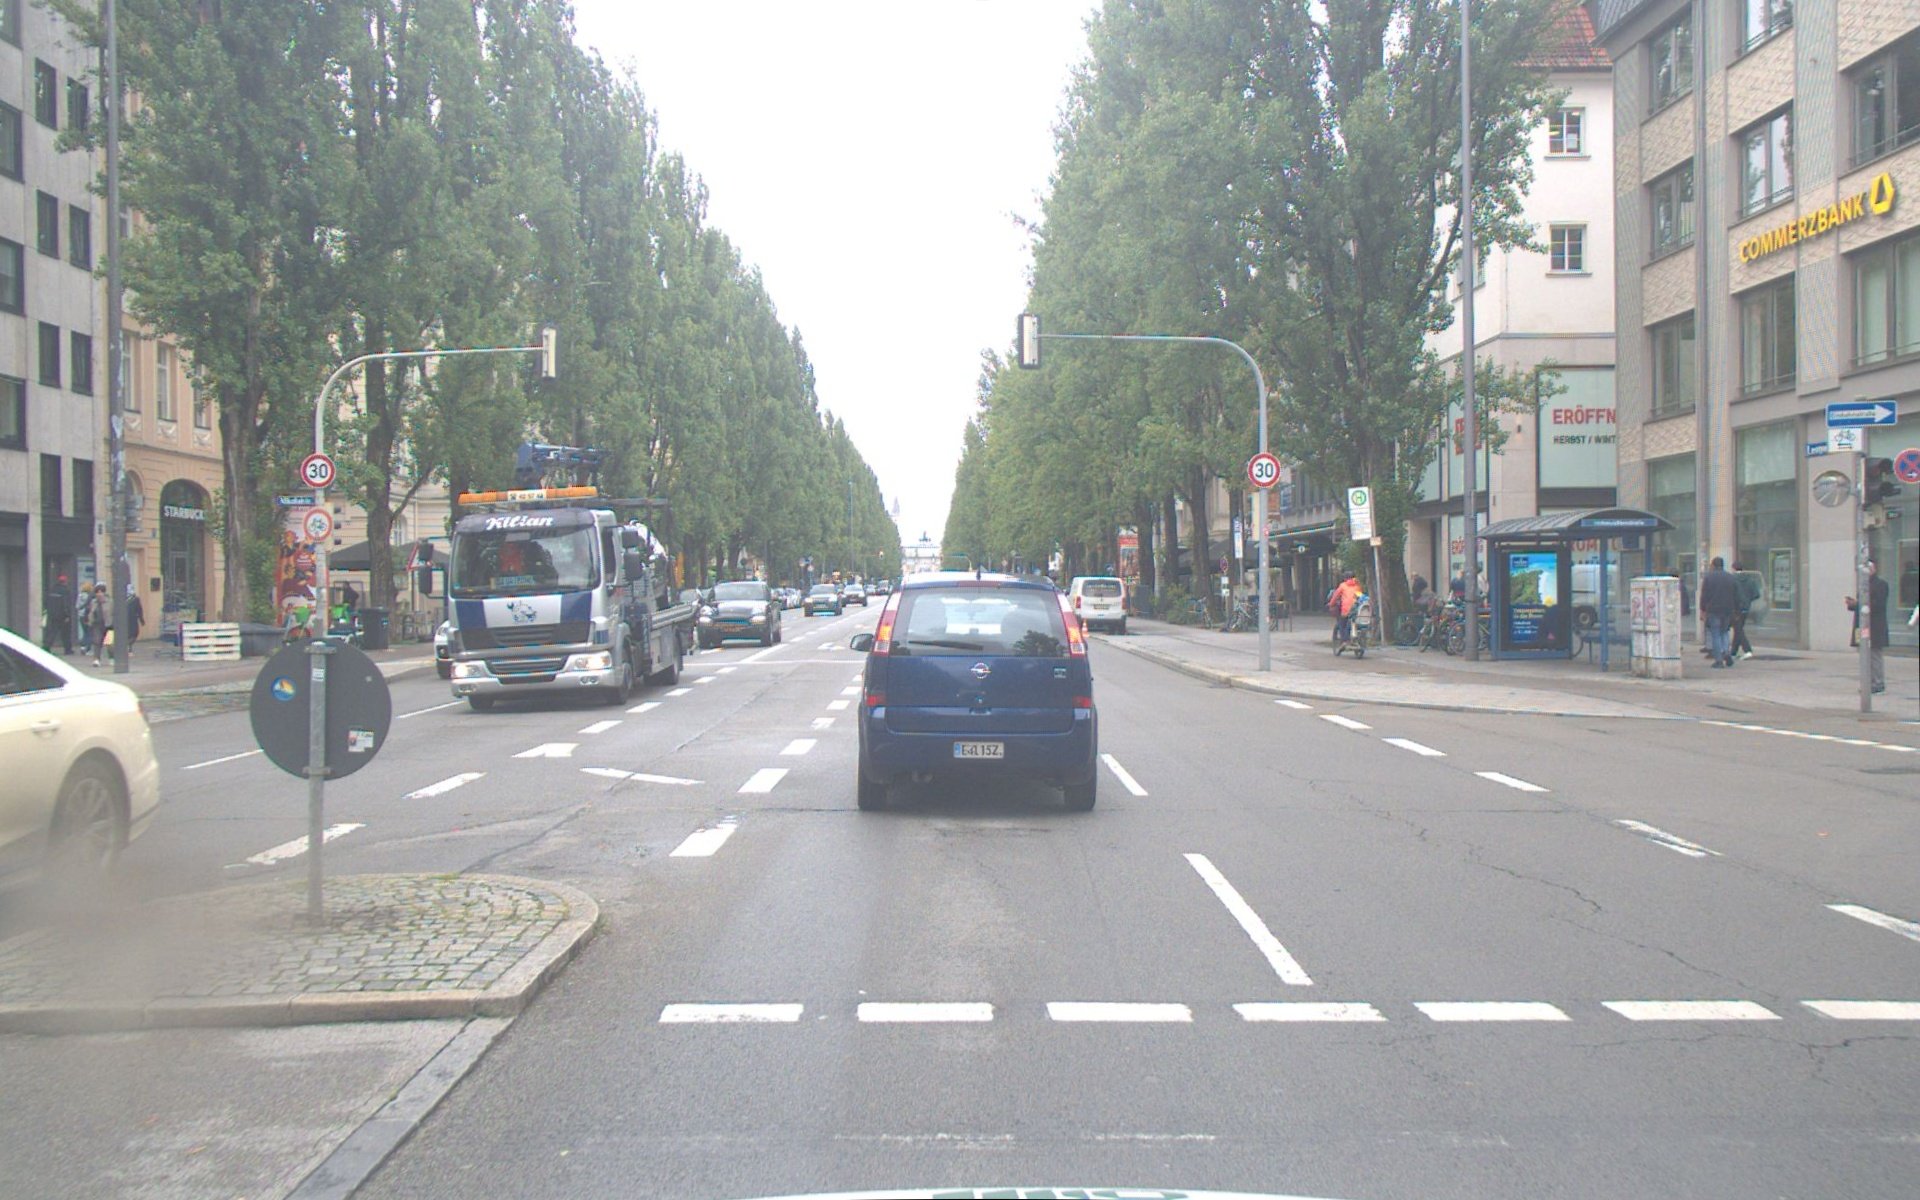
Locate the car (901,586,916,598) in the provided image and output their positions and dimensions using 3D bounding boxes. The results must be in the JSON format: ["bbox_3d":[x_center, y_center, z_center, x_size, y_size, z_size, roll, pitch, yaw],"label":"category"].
[{"bbox_3d":[-6.843,-1.063,218.575,1.922,1.424,3.777,-1,1,-2],"label":"car"}]

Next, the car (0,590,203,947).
[{"bbox_3d":[-5.047,0.766,6.612,1.806,1.528,4.985,-2,1,-1],"label":"car"}]

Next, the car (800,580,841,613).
[{"bbox_3d":[-7.436,-0.222,88.563,1.874,1.710,4.585,-1,1,-2],"label":"car"}]

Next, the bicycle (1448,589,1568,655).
[{"bbox_3d":[11.018,0.435,33.288,2.268,1.274,0.477,-1,0,-2],"label":"bicycle"}]

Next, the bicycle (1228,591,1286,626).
[{"bbox_3d":[9.334,0.254,51.985,1.727,1.062,0.482,-1,0,-13],"label":"bicycle"}]

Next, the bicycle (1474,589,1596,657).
[{"bbox_3d":[11.115,0.441,32.012,2.194,1.274,0.477,0,0,23],"label":"bicycle"}]

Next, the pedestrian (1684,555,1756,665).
[{"bbox_3d":[13.028,0.169,28.366,0.802,1.849,0.890,-1,0,-3],"label":"pedestrian"}]

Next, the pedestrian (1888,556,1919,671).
[{"bbox_3d":[15.381,0.199,26.242,0.734,1.788,1.017,-1,1,0],"label":"pedestrian"}]

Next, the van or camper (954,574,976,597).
[{"bbox_3d":[0.570,-1.768,195.764,2.426,2.626,5.843,-1,1,-1],"label":"van or camper"}]

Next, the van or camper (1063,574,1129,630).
[{"bbox_3d":[4.845,0.041,59.423,1.831,1.916,4.902,0,1,-2],"label":"van or camper"}]

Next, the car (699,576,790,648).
[{"bbox_3d":[-5.627,0.282,43.712,1.846,1.777,4.439,-1,1,-1],"label":"car"}]

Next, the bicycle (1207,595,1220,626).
[{"bbox_3d":[8.787,0.358,57.330,0.357,1.056,1.732,-1,1,6],"label":"bicycle"}]

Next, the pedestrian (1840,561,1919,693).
[{"bbox_3d":[12.744,0.361,22.922,0.694,1.788,0.752,-1,0,0],"label":"pedestrian"}]

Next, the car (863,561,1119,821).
[{"bbox_3d":[0.128,0.555,12.650,1.647,1.670,3.999,0,1,-2],"label":"car"}]

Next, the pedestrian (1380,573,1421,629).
[{"bbox_3d":[13.692,0.035,51.412,0.979,1.703,0.813,-1,1,-43],"label":"pedestrian"}]

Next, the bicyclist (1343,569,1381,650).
[{"bbox_3d":[8.080,0.183,33.284,0.609,1.616,0.481,-1,0,-2],"label":"bicyclist"}]

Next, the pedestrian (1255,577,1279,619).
[{"bbox_3d":[13.877,-0.076,74.803,0.810,1.873,1.099,-1,0,-2],"label":"pedestrian"}]

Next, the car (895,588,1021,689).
[{"bbox_3d":[-0.103,0.587,27.954,1.953,1.523,3.999,-1,1,-2],"label":"car"}]

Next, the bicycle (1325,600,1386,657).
[{"bbox_3d":[8.072,0.562,33.841,0.614,1.105,2.263,-1,1,-2],"label":"bicycle"}]

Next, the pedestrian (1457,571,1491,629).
[{"bbox_3d":[15.553,-0.006,50.064,0.735,1.748,0.962,0,0,-1],"label":"pedestrian"}]

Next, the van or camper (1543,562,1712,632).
[{"bbox_3d":[18.756,-0.090,46.606,4.019,1.899,1.899,0,0,2],"label":"van or camper"}]

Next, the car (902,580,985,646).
[{"bbox_3d":[-0.458,0.286,41.616,1.953,1.523,3.999,-1,1,-2],"label":"car"}]

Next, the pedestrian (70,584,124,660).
[{"bbox_3d":[-19.845,0.496,38.056,0.717,1.711,0.977,1,0,-1],"label":"pedestrian"}]

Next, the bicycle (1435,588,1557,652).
[{"bbox_3d":[10.966,0.402,33.881,2.296,1.274,0.633,-1,0,-2],"label":"bicycle"}]

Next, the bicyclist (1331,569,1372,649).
[{"bbox_3d":[8.054,0.180,34.048,0.609,1.616,0.753,-1,0,-2],"label":"bicyclist"}]

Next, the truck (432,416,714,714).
[{"bbox_3d":[-5.516,-0.500,25.155,2.413,3.734,8.438,-1,1,-1],"label":"truck"}]

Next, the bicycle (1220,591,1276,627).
[{"bbox_3d":[9.172,0.273,52.688,1.707,1.130,0.447,-1,0,-12],"label":"bicycle"}]

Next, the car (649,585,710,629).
[{"bbox_3d":[-12.038,0.267,71.306,1.782,1.646,4.717,0,2,0],"label":"car"}]

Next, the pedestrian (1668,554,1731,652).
[{"bbox_3d":[13.718,0.063,30.713,0.734,1.789,0.859,-1,-1,0],"label":"pedestrian"}]

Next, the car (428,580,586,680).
[{"bbox_3d":[-8.672,0.511,32.065,1.800,1.746,4.635,-2,1,-1],"label":"car"}]

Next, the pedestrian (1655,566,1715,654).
[{"bbox_3d":[14.371,0.181,32.804,0.734,1.706,0.963,-1,1,0],"label":"pedestrian"}]

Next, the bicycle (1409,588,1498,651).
[{"bbox_3d":[10.283,0.402,34.484,1.689,1.261,0.449,-1,0,0],"label":"bicycle"}]

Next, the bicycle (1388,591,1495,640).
[{"bbox_3d":[10.656,0.331,36.626,2.105,1.035,0.874,-1,1,-2],"label":"bicycle"}]

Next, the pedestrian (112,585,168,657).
[{"bbox_3d":[-18.361,0.455,37.042,0.735,1.594,0.989,-1,0,1],"label":"pedestrian"}]

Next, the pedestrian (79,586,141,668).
[{"bbox_3d":[-17.336,0.540,33.738,0.762,1.647,0.934,-1,1,-2],"label":"pedestrian"}]

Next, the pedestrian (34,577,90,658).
[{"bbox_3d":[-20.652,0.397,38.037,0.783,1.818,0.911,1,0,-1],"label":"pedestrian"}]

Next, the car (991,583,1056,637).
[{"bbox_3d":[1.938,0.270,51.631,1.672,1.601,3.998,-1,1,-3],"label":"car"}]

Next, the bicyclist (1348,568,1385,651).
[{"bbox_3d":[8.090,0.184,32.904,0.609,1.616,0.391,-1,0,-2],"label":"bicyclist"}]

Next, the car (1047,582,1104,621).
[{"bbox_3d":[4.521,0.035,65.111,1.685,1.467,4.351,1,1,-3],"label":"car"}]

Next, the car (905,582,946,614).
[{"bbox_3d":[-1.767,-0.117,83.378,1.953,1.523,3.998,-1,1,-2],"label":"car"}]

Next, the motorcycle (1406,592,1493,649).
[{"bbox_3d":[10.349,0.434,35.005,1.689,1.159,0.510,-1,0,0],"label":"motorcycle"}]

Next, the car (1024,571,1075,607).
[{"bbox_3d":[4.075,-0.513,75.866,1.781,1.532,4.229,-1,1,-4],"label":"car"}]

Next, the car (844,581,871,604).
[{"bbox_3d":[-7.743,-0.591,124.921,1.896,1.651,4.335,-1,1,-2],"label":"car"}]

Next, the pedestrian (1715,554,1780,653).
[{"bbox_3d":[14.498,0.071,30.466,0.734,1.789,0.859,-1,-1,0],"label":"pedestrian"}]

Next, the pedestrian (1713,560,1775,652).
[{"bbox_3d":[15.195,0.107,32.083,0.734,1.748,0.963,-1,0,0],"label":"pedestrian"}]

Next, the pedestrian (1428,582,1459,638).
[{"bbox_3d":[14.786,0.302,50.641,0.638,1.692,0.962,-1,0,-1],"label":"pedestrian"}]

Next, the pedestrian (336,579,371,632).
[{"bbox_3d":[-20.479,0.195,55.874,0.826,1.774,0.954,0,0,0],"label":"pedestrian"}]
